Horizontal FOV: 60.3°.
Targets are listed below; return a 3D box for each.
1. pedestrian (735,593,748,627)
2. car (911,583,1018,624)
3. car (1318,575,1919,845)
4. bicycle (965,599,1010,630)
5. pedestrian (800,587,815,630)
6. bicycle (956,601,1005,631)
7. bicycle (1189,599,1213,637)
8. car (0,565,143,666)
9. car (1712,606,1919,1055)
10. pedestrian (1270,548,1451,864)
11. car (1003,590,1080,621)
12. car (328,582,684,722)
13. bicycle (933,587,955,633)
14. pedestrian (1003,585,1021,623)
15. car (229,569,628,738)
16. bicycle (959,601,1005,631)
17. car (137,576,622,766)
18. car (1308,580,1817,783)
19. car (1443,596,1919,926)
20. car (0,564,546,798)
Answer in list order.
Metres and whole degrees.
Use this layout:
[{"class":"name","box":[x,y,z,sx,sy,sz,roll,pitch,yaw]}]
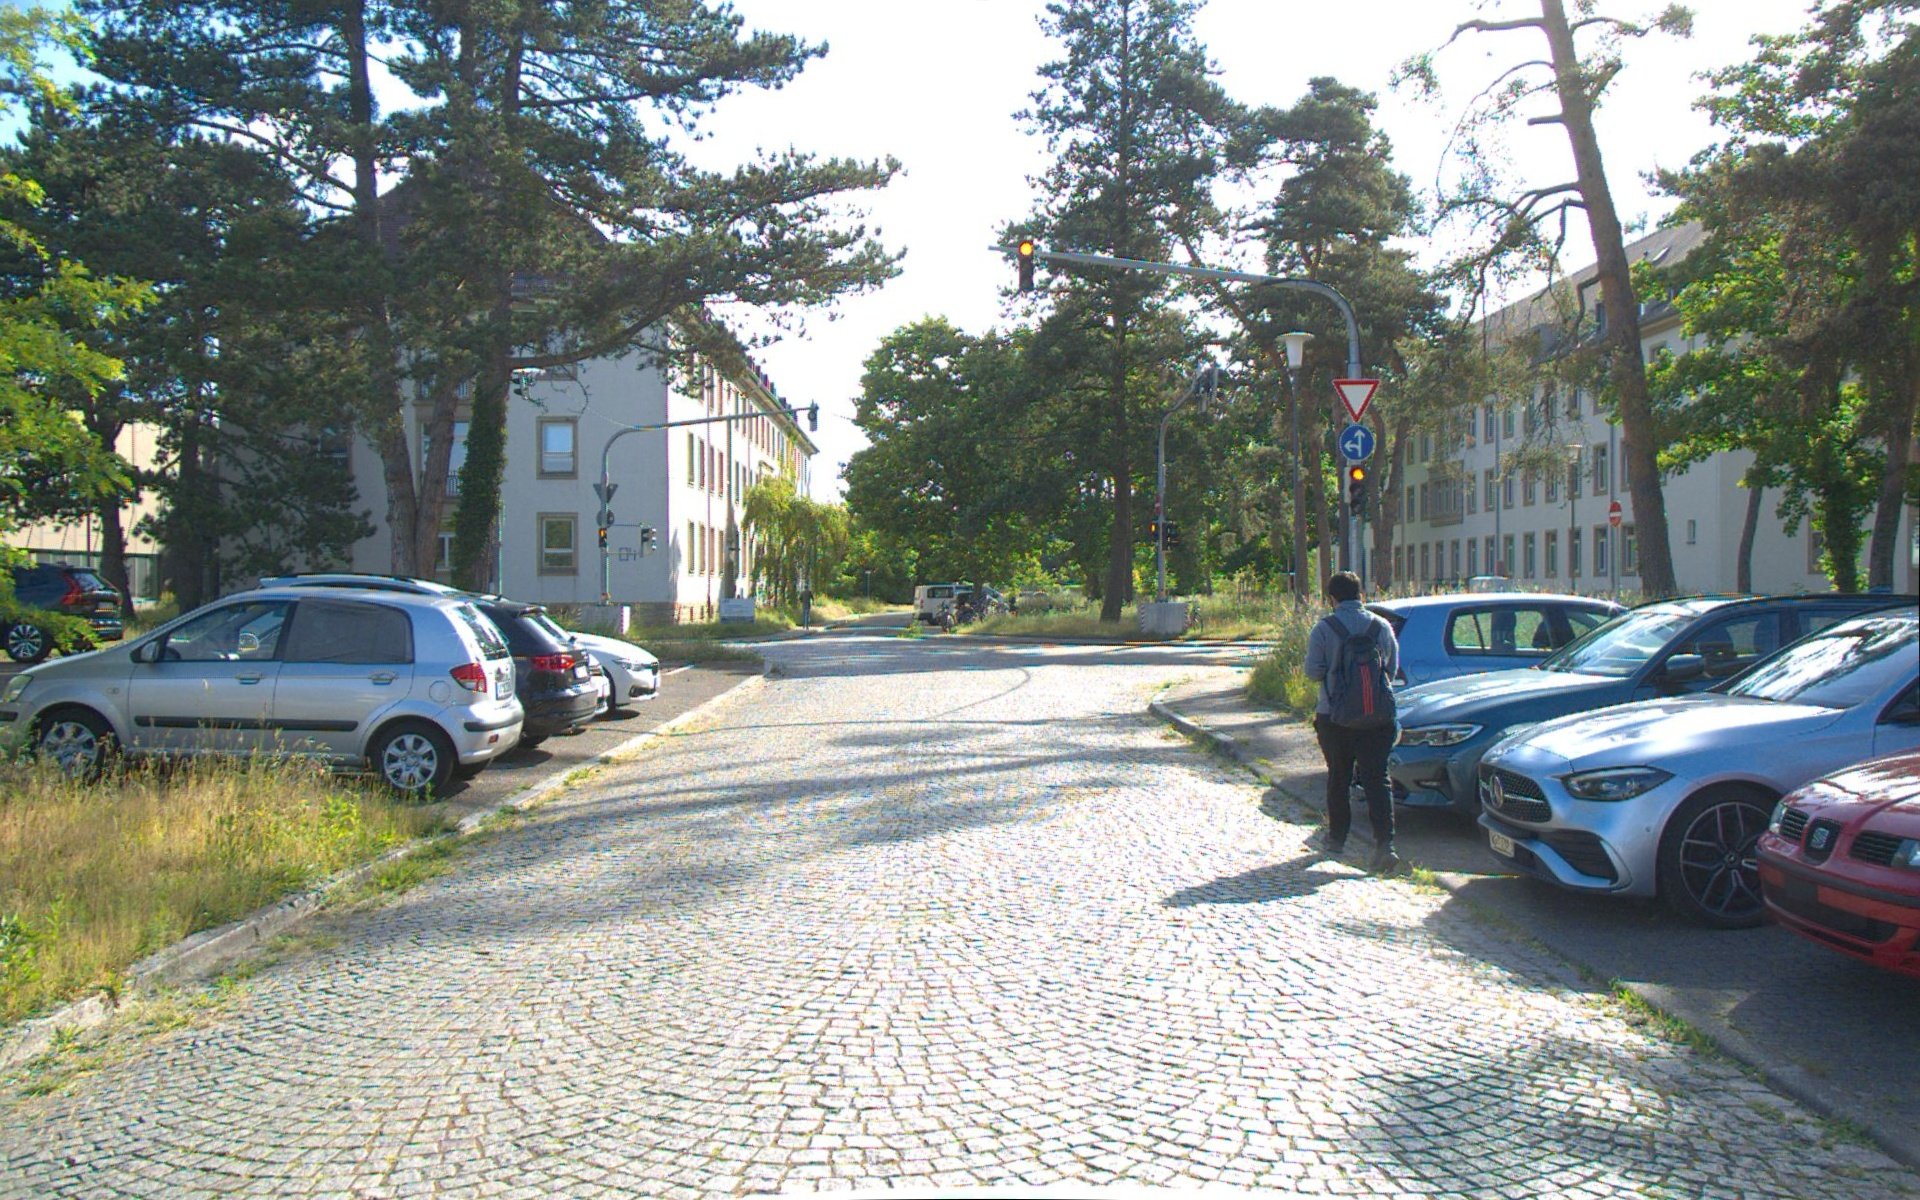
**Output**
[{"class":"pedestrian","box":[-10.073,0.463,76.384,0.595,1.587,0.544,0,0,-7]},{"class":"car","box":[0.210,0.146,80.528,4.975,1.951,1.995,0,0,-11]},{"class":"car","box":[4.925,0.656,11.194,4.528,1.481,1.869,-2,0,-3]},{"class":"bicycle","box":[1.054,0.566,63.877,1.693,1.185,0.560,0,0,-5]},{"class":"pedestrian","box":[-6.343,0.366,68.936,0.594,1.783,0.630,0,0,-2]},{"class":"bicycle","box":[0.773,0.607,62.646,1.798,1.132,0.495,0,0,-5]},{"class":"bicycle","box":[7.420,0.547,50.861,0.706,1.134,2.586,0,0,9]},{"class":"car","box":[-16.371,0.257,27.982,4.059,1.636,2.010,0,0,0]},{"class":"car","box":[5.135,0.746,6.178,3.899,1.474,1.655,-1,0,-2]},{"class":"pedestrian","box":[2.369,0.604,9.870,0.738,1.755,0.828,4,0,-1]},{"class":"car","box":[4.150,0.271,84.528,3.673,1.607,1.738,0,0,-8]},{"class":"car","box":[-5.628,0.614,20.797,3.903,1.522,1.773,2,0,4]},{"class":"bicycle","box":[-0.569,0.330,59.164,0.738,1.608,2.536,0,0,-1]},{"class":"pedestrian","box":[2.492,0.205,78.892,0.745,1.815,0.683,0,0,-9]},{"class":"car","box":[-5.737,0.562,18.180,3.802,1.643,1.660,2,0,-2]},{"class":"bicycle","box":[0.832,0.606,63.192,1.693,1.132,0.483,0,0,-5]},{"class":"car","box":[-5.280,0.625,15.418,3.858,1.470,1.690,3,0,-2]},{"class":"car","box":[4.896,0.632,13.772,3.598,1.468,1.665,-2,0,-1]},{"class":"car","box":[4.896,0.702,8.445,4.310,1.413,1.788,-2,0,-2]},{"class":"car","box":[-5.223,0.586,12.756,3.612,1.554,1.698,2,0,-3]}]
